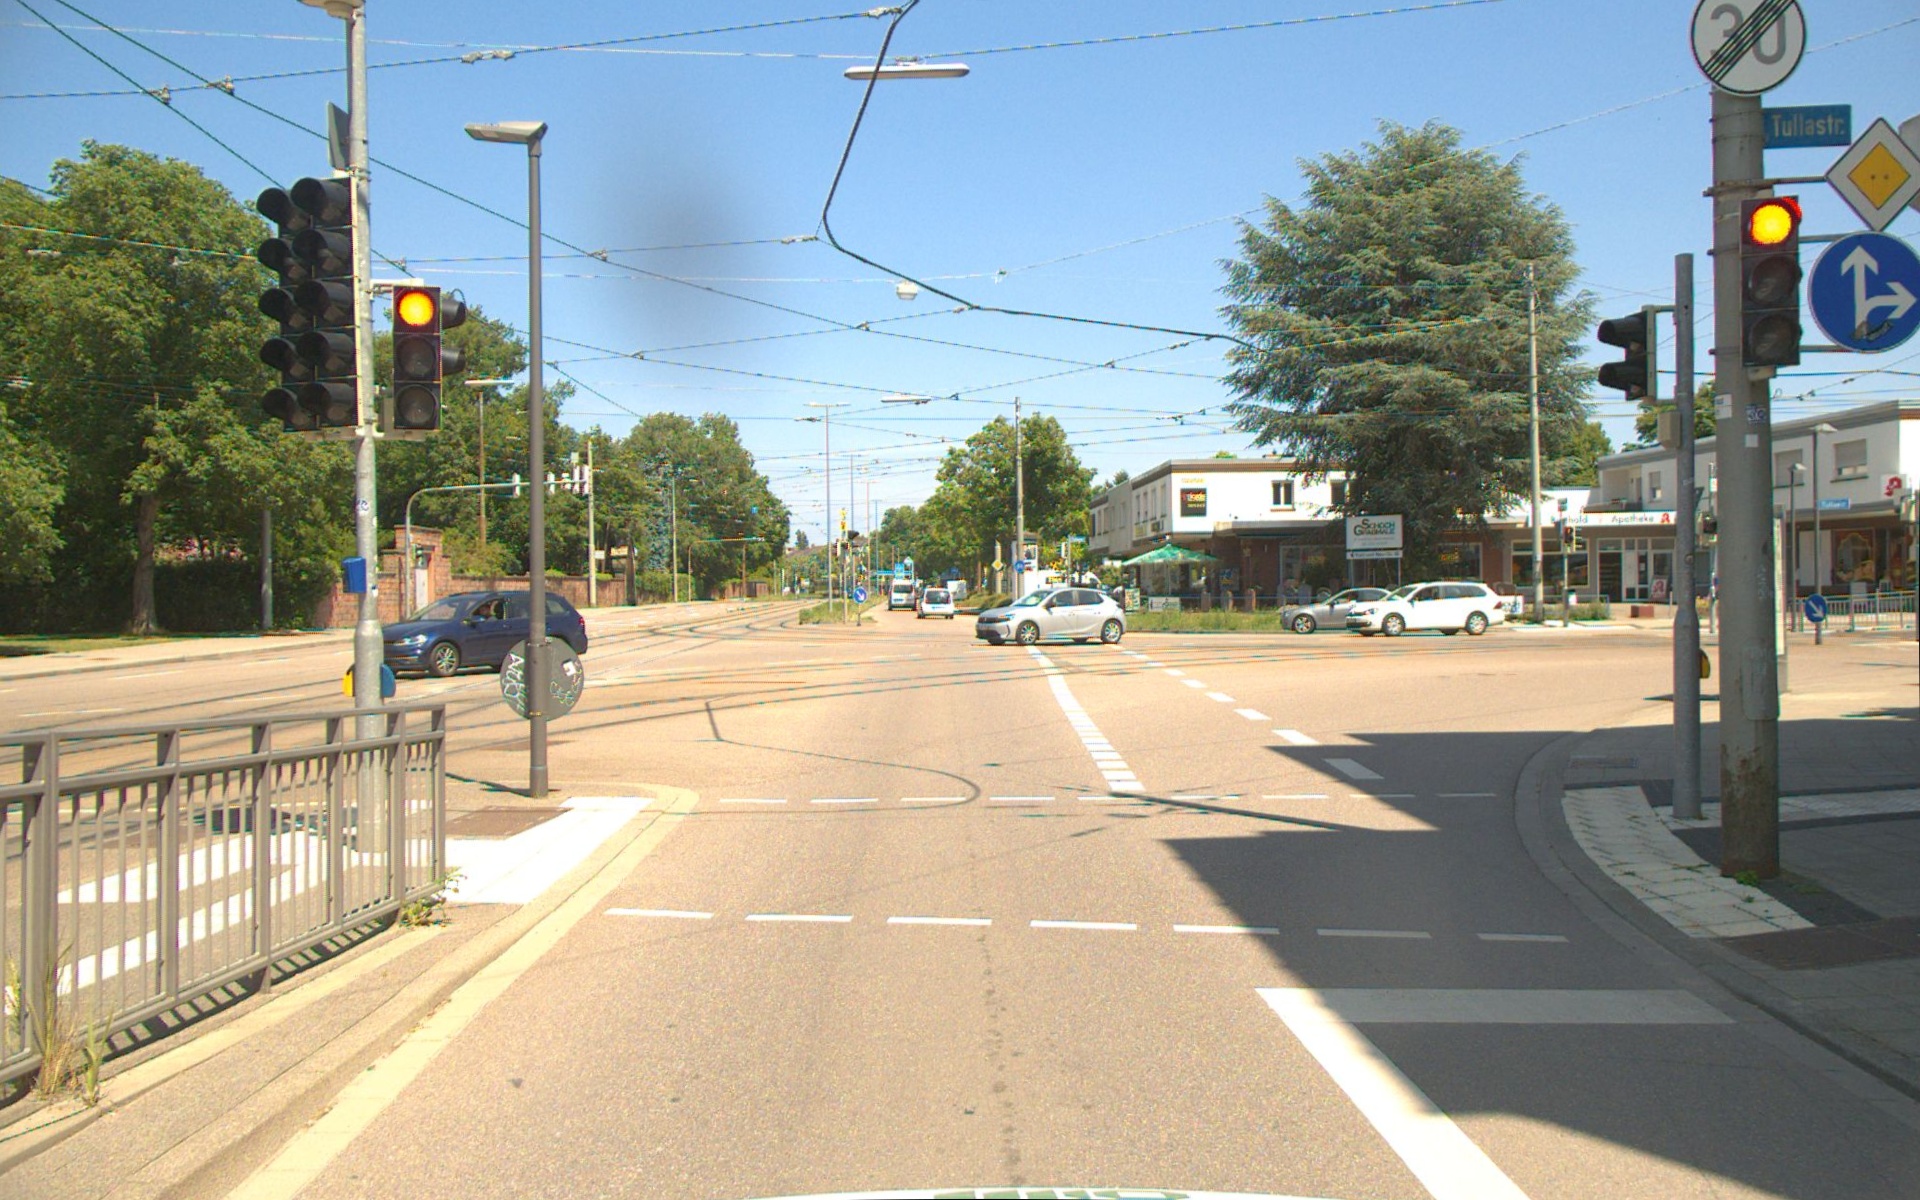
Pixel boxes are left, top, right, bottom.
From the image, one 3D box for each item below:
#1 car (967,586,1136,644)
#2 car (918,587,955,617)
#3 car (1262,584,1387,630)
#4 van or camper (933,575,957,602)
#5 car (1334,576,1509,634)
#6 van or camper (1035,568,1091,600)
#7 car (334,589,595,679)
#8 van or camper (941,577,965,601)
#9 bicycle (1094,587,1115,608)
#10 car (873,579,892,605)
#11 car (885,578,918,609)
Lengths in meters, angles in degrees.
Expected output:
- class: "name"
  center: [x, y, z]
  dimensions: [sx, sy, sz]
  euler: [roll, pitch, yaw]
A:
- class: "car"
  center: [2.339, 0.352, 42.090]
  dimensions: [3.995, 1.386, 1.806]
  euler: [-1, 0, -30]
- class: "car"
  center: [-1.177, 0.077, 81.820]
  dimensions: [1.638, 1.460, 3.471]
  euler: [-1, 0, -5]
- class: "car"
  center: [11.399, 0.218, 51.789]
  dimensions: [3.747, 1.375, 1.643]
  euler: [-1, 0, 11]
- class: "van or camper"
  center: [-1.380, -1.071, 152.841]
  dimensions: [1.954, 2.507, 3.997]
  euler: [-1, 0, -4]
- class: "car"
  center: [12.931, 0.124, 46.445]
  dimensions: [4.402, 1.516, 1.820]
  euler: [-1, 0, -10]
- class: "van or camper"
  center: [8.942, -1.382, 143.555]
  dimensions: [4.662, 2.717, 2.134]
  euler: [-1, 0, -3]
- class: "car"
  center: [-8.939, 0.566, 30.190]
  dimensions: [1.823, 1.467, 4.466]
  euler: [0, 0, 33]
- class: "van or camper"
  center: [-0.564, -0.877, 130.385]
  dimensions: [1.883, 1.803, 3.999]
  euler: [-1, 0, -1]
- class: "bicycle"
  center: [7.394, -0.153, 84.625]
  dimensions: [1.012, 1.032, 2.639]
  euler: [-1, 0, 5]
- class: "car"
  center: [-6.389, -0.654, 136.393]
  dimensions: [1.392, 2.049, 3.626]
  euler: [-1, 0, -6]
- class: "car"
  center: [-3.687, -0.430, 103.285]
  dimensions: [1.954, 1.892, 3.997]
  euler: [-1, 0, -3]
